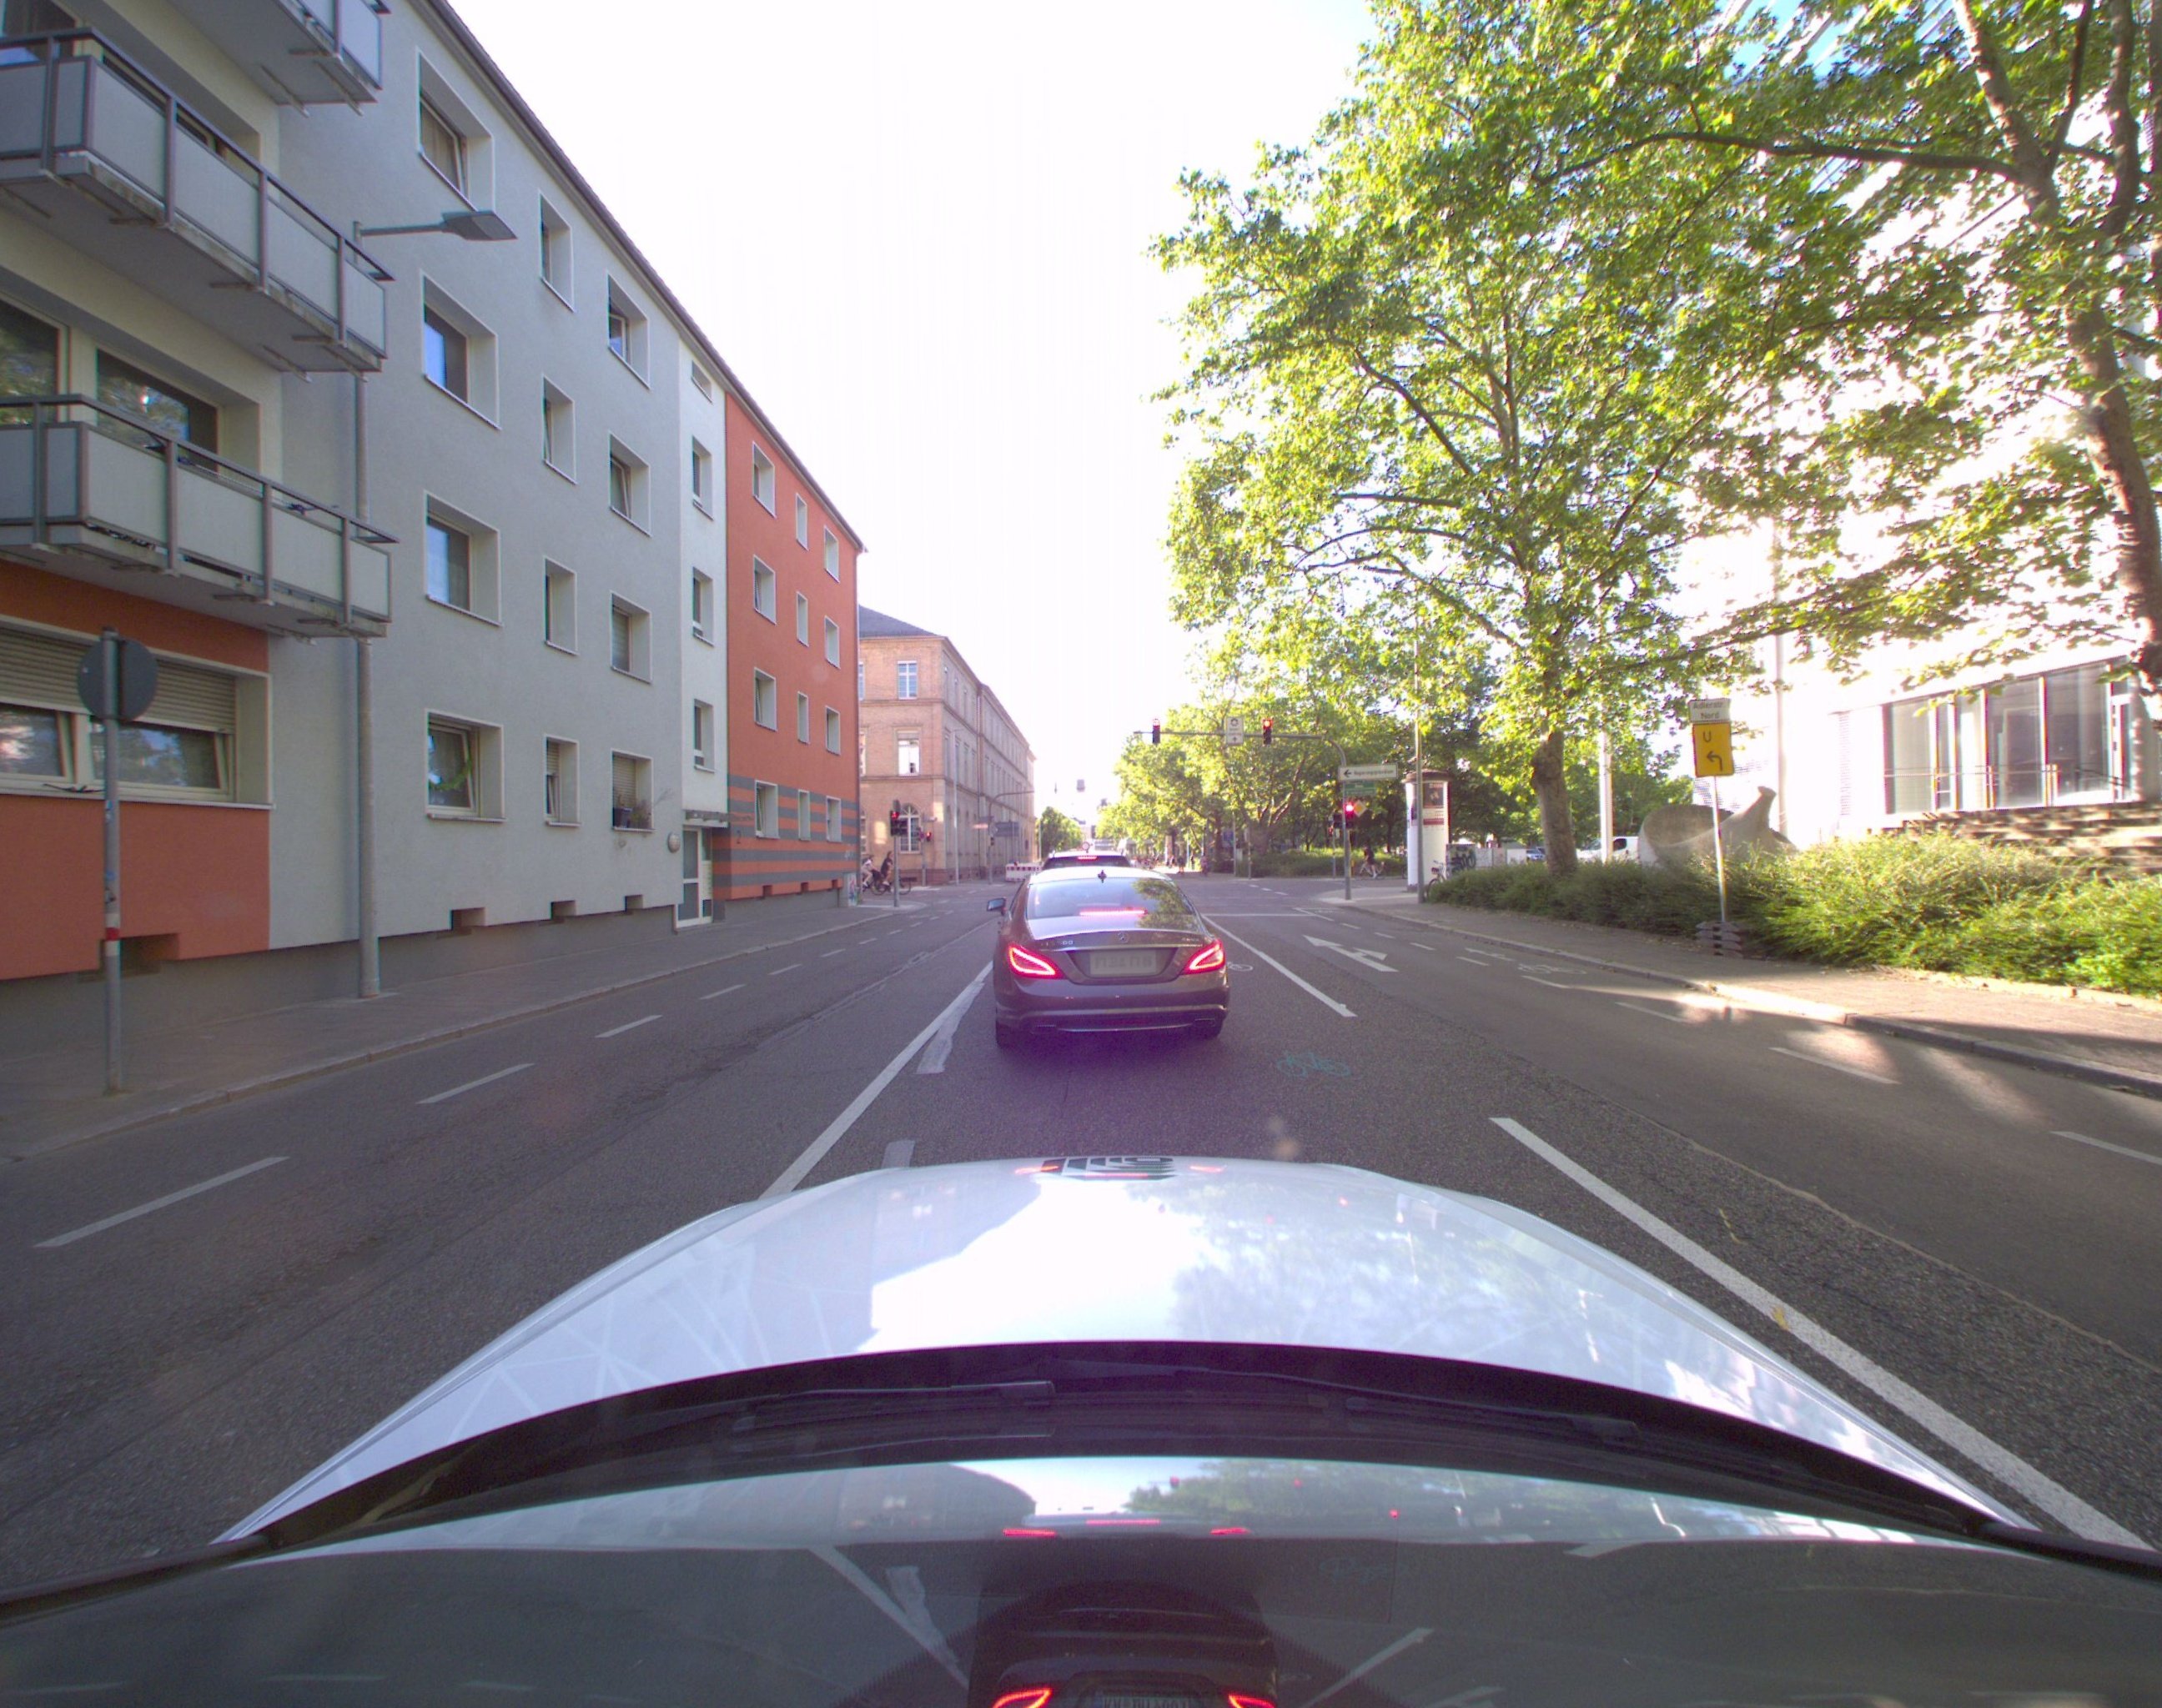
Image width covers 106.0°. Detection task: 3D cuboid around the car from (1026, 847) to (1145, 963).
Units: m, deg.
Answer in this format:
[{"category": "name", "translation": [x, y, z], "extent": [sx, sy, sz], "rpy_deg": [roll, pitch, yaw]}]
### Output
[{"category": "car", "translation": [0.083, 0.740, 13.529], "extent": [1.676, 1.625, 3.841], "rpy_deg": [-1, 0, 0]}]

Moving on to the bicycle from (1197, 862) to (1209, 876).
[{"category": "bicycle", "translation": [8.978, 1.104, 59.910], "extent": [0.598, 0.985, 1.882], "rpy_deg": [1, 0, 2]}]

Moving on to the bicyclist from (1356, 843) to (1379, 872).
[{"category": "bicyclist", "translation": [15.565, 0.201, 44.270], "extent": [0.813, 1.553, 0.883], "rpy_deg": [-1, 0, -8]}]

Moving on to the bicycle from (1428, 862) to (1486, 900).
[{"category": "bicycle", "translation": [10.801, 0.773, 23.415], "extent": [1.411, 1.037, 0.538], "rpy_deg": [-1, 0, -2]}]

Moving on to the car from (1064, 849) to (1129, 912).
[{"category": "car", "translation": [0.420, 0.710, 23.396], "extent": [1.676, 1.625, 3.841], "rpy_deg": [-1, 0, 0]}]

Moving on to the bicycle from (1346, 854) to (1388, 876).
[{"category": "bicycle", "translation": [15.539, 0.589, 44.240], "extent": [1.996, 1.185, 0.883], "rpy_deg": [-1, 0, -8]}]

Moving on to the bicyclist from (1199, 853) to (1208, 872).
[{"category": "bicyclist", "translation": [8.981, 0.626, 59.722], "extent": [0.598, 1.402, 0.931], "rpy_deg": [1, 0, 1]}]

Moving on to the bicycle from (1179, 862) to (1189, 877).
[{"category": "bicycle", "translation": [7.636, 1.135, 60.544], "extent": [0.608, 1.026, 1.732], "rpy_deg": [0, 0, 2]}]

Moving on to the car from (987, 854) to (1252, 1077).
[{"category": "car", "translation": [0.091, 0.768, 7.772], "extent": [1.818, 1.476, 4.345], "rpy_deg": [-1, 0, -5]}]

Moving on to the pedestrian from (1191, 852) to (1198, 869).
[{"category": "pedestrian", "translation": [11.296, 0.656, 80.887], "extent": [0.557, 1.678, 0.565], "rpy_deg": [-1, 0, 1]}]

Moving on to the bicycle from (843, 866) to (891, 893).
[{"category": "bicycle", "translation": [-9.810, 1.158, 37.407], "extent": [1.996, 1.185, 0.883], "rpy_deg": [-1, 0, -8]}]

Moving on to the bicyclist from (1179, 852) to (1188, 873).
[{"category": "bicyclist", "translation": [7.622, 0.641, 60.461], "extent": [0.608, 1.516, 0.890], "rpy_deg": [0, 0, 1]}]

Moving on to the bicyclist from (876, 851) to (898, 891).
[{"category": "bicyclist", "translation": [-8.473, 0.736, 35.575], "extent": [0.793, 1.708, 0.589], "rpy_deg": [-1, 0, 3]}]

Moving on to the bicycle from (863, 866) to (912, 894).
[{"category": "bicycle", "translation": [-8.440, 1.133, 35.569], "extent": [1.989, 1.185, 0.589], "rpy_deg": [-1, 0, 3]}]

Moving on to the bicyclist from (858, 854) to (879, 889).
[{"category": "bicyclist", "translation": [-9.780, 0.790, 37.423], "extent": [0.799, 1.592, 0.883], "rpy_deg": [-1, 0, -8]}]

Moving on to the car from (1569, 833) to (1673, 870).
[{"category": "car", "translation": [27.559, -0.123, 41.677], "extent": [3.976, 1.784, 2.004], "rpy_deg": [-1, 0, 6]}]
